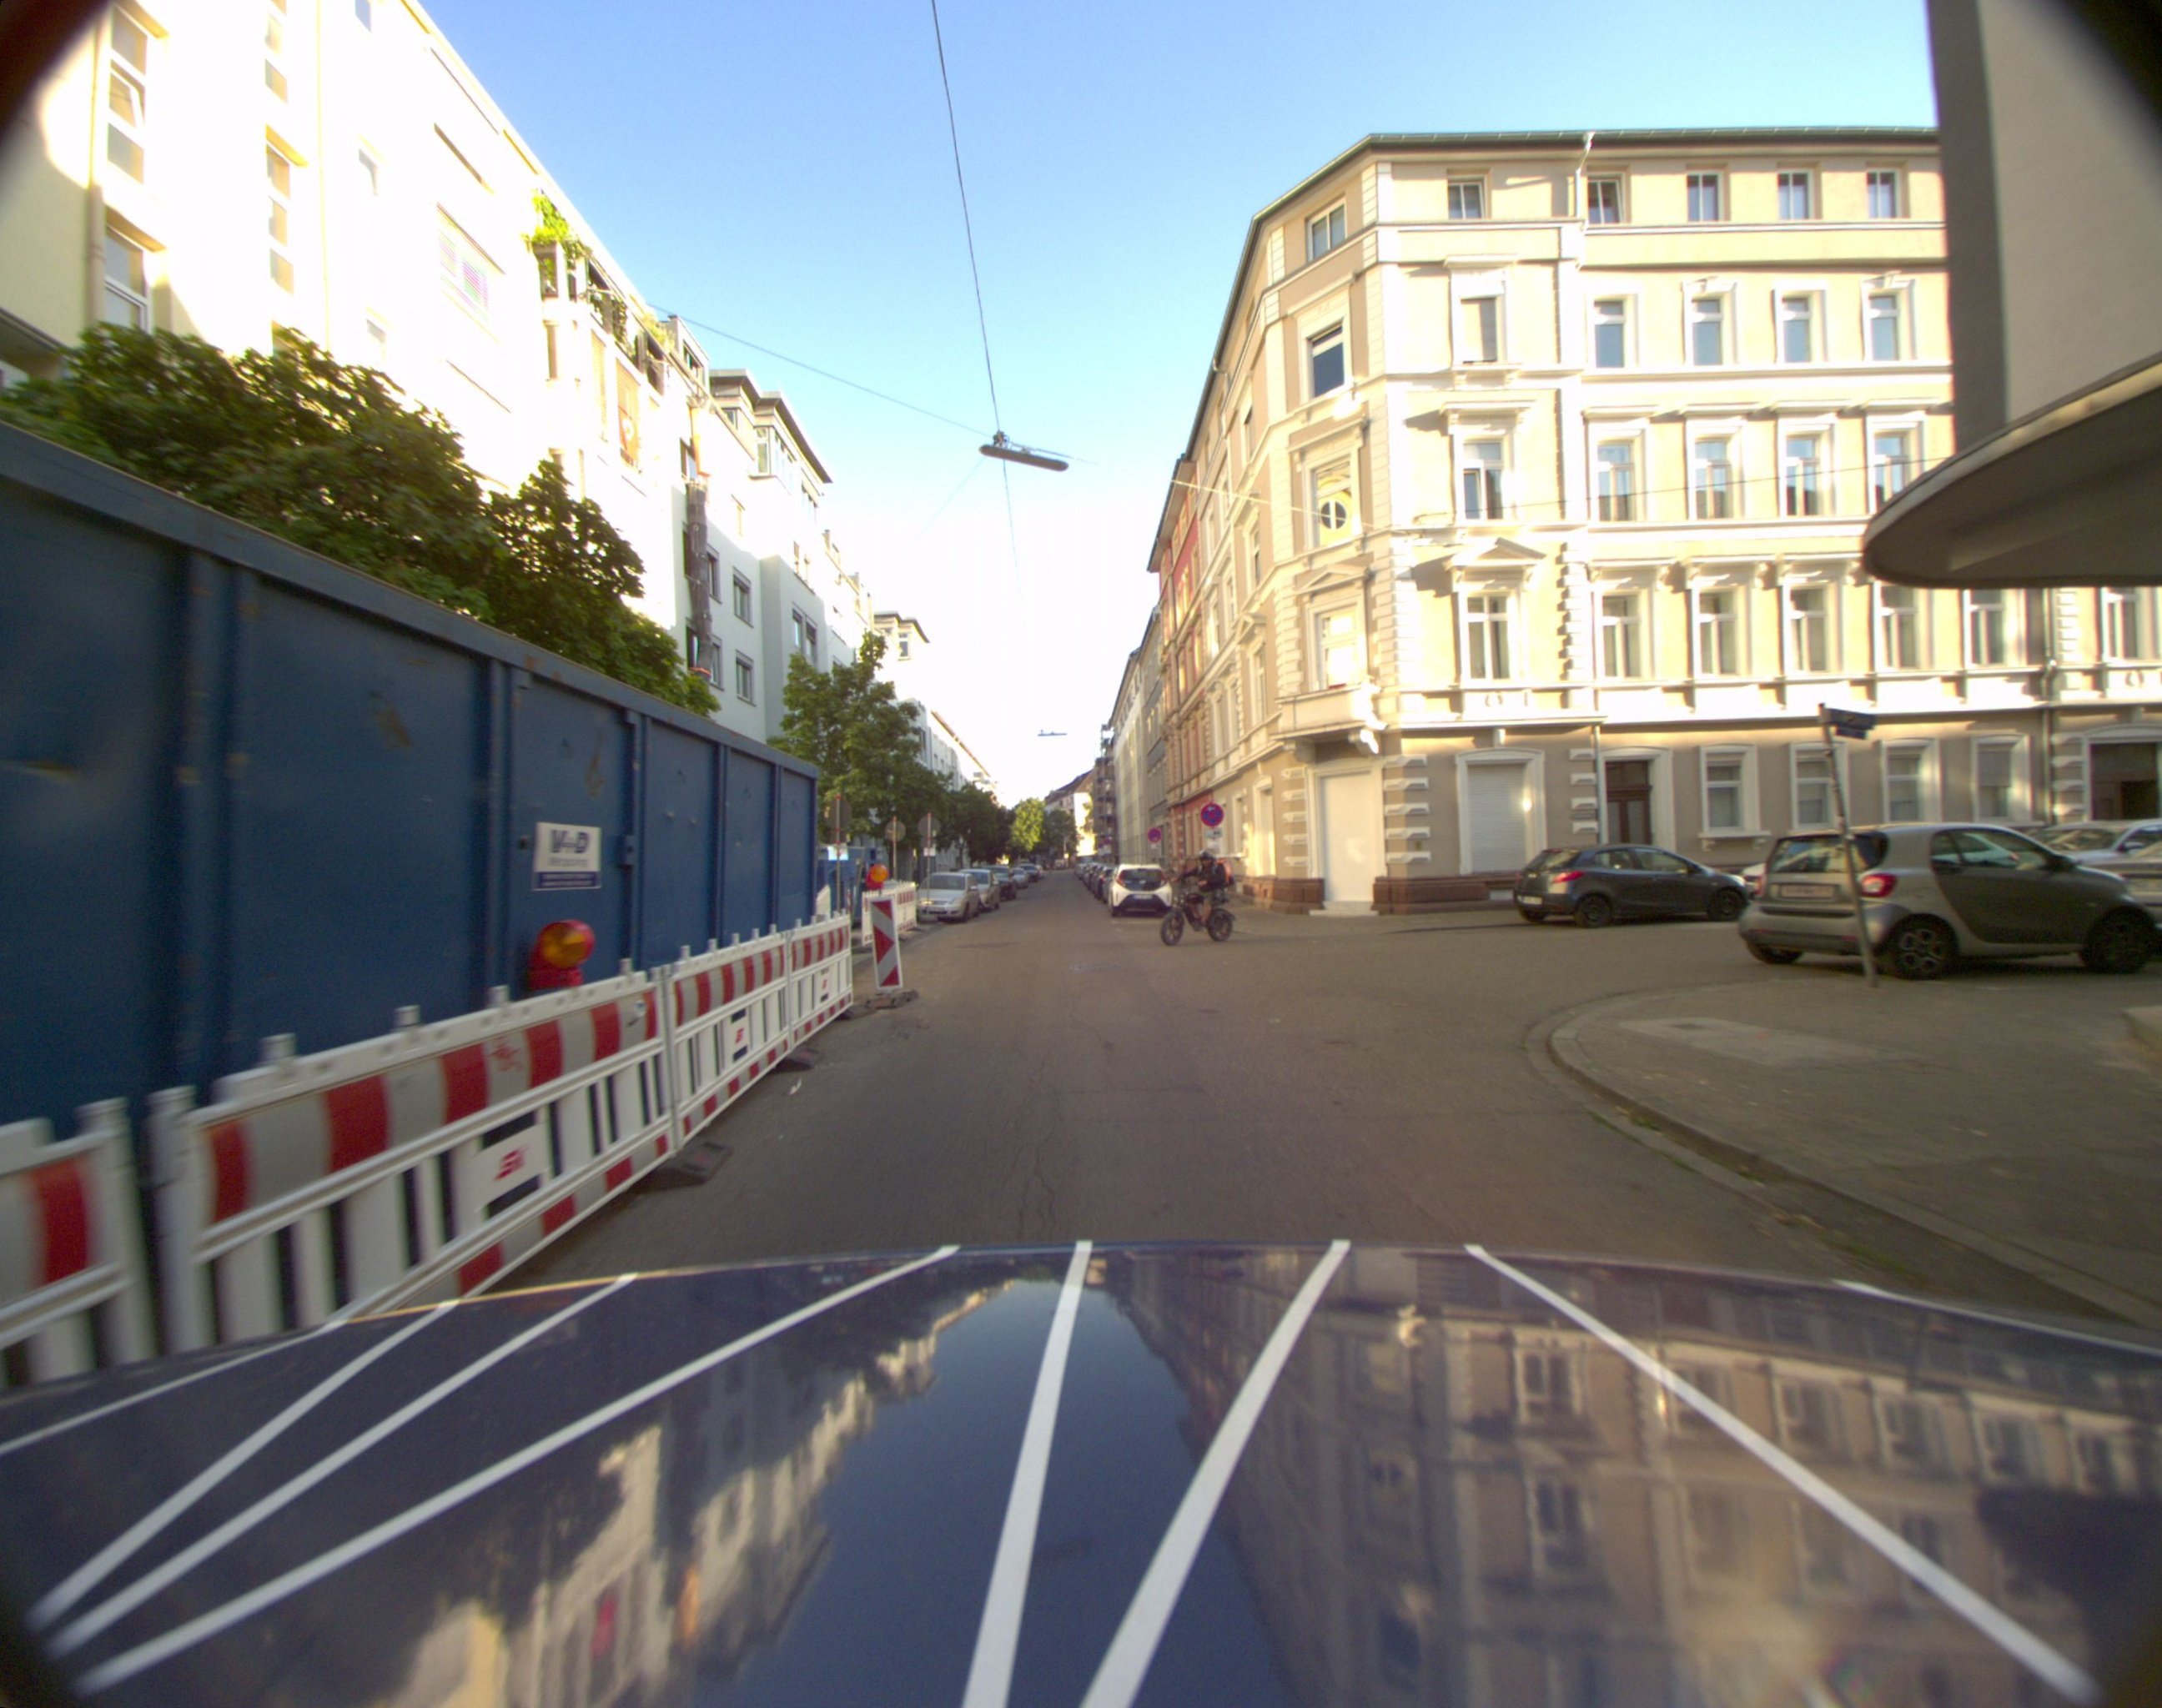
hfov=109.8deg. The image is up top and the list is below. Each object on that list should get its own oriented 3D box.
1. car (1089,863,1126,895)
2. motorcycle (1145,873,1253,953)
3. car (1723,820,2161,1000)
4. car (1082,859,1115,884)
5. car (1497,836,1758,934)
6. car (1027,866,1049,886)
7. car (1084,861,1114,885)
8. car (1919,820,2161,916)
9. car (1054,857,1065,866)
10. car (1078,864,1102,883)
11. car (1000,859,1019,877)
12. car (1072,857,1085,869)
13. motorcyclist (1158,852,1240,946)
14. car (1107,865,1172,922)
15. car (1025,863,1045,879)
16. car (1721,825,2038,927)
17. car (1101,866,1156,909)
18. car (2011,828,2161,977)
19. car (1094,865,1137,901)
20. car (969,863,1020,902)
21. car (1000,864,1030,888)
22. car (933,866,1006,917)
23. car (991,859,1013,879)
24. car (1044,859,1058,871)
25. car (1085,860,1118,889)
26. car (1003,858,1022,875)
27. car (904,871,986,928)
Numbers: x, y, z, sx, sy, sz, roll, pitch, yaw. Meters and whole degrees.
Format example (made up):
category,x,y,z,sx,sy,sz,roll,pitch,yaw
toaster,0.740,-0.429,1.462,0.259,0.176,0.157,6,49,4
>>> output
category,x,y,z,sx,sy,sz,roll,pitch,yaw
car,1.318,1.260,39.310,1.537,1.489,4.195,-1,0,-3
motorcycle,2.104,1.035,13.532,1.700,1.242,0.805,-3,-2,-31
car,8.881,0.532,8.023,2.762,1.556,1.648,-3,0,-1
car,1.232,1.224,55.321,1.999,1.639,4.492,-3,0,-2
car,9.820,0.524,13.803,3.589,1.471,1.686,-3,0,-7
car,-3.956,1.981,69.804,1.856,1.649,3.999,-3,0,-3
car,1.147,1.232,50.254,1.662,1.420,4.352,-3,0,-3
car,19.042,0.220,14.451,4.091,1.551,2.008,-3,0,-3
car,-4.309,1.523,152.783,1.999,1.783,4.000,-3,0,-1
car,0.822,1.799,69.991,1.999,1.566,4.149,-3,0,-1
car,-8.629,1.656,91.669,1.999,2.002,3.999,-3,0,-2
car,-0.367,1.456,122.918,1.999,1.783,4.000,-3,0,-1
motorcyclist,2.093,0.793,13.557,1.001,1.558,0.873,-3,-2,-31
car,1.673,1.113,22.795,1.688,1.487,3.844,1,0,1
car,-4.926,1.804,82.020,1.903,1.509,4.223,-3,0,-2
car,14.664,0.379,14.105,4.091,1.551,1.835,-3,0,-4
car,1.654,1.163,27.757,1.614,1.419,3.961,0,0,-2
car,12.862,0.394,7.795,4.261,1.444,1.968,-3,0,-1
car,1.452,1.238,33.181,1.589,1.407,3.912,1,0,-1
car,-4.119,1.334,36.829,1.863,1.679,4.390,-3,0,0
car,-4.571,1.521,53.073,1.856,1.480,3.999,-3,0,-2
car,-4.009,1.320,27.875,1.912,1.575,4.000,-3,0,1
car,-8.484,1.638,82.169,1.999,2.002,3.999,-3,0,-2
car,-4.796,1.767,120.465,1.999,1.783,4.000,-3,0,-1
car,1.167,1.151,44.318,1.598,1.513,4.429,-3,0,-2
car,-8.637,1.613,96.160,1.999,2.002,3.999,-3,0,-2
car,-4.046,1.325,23.221,1.638,1.438,4.067,-3,0,1
